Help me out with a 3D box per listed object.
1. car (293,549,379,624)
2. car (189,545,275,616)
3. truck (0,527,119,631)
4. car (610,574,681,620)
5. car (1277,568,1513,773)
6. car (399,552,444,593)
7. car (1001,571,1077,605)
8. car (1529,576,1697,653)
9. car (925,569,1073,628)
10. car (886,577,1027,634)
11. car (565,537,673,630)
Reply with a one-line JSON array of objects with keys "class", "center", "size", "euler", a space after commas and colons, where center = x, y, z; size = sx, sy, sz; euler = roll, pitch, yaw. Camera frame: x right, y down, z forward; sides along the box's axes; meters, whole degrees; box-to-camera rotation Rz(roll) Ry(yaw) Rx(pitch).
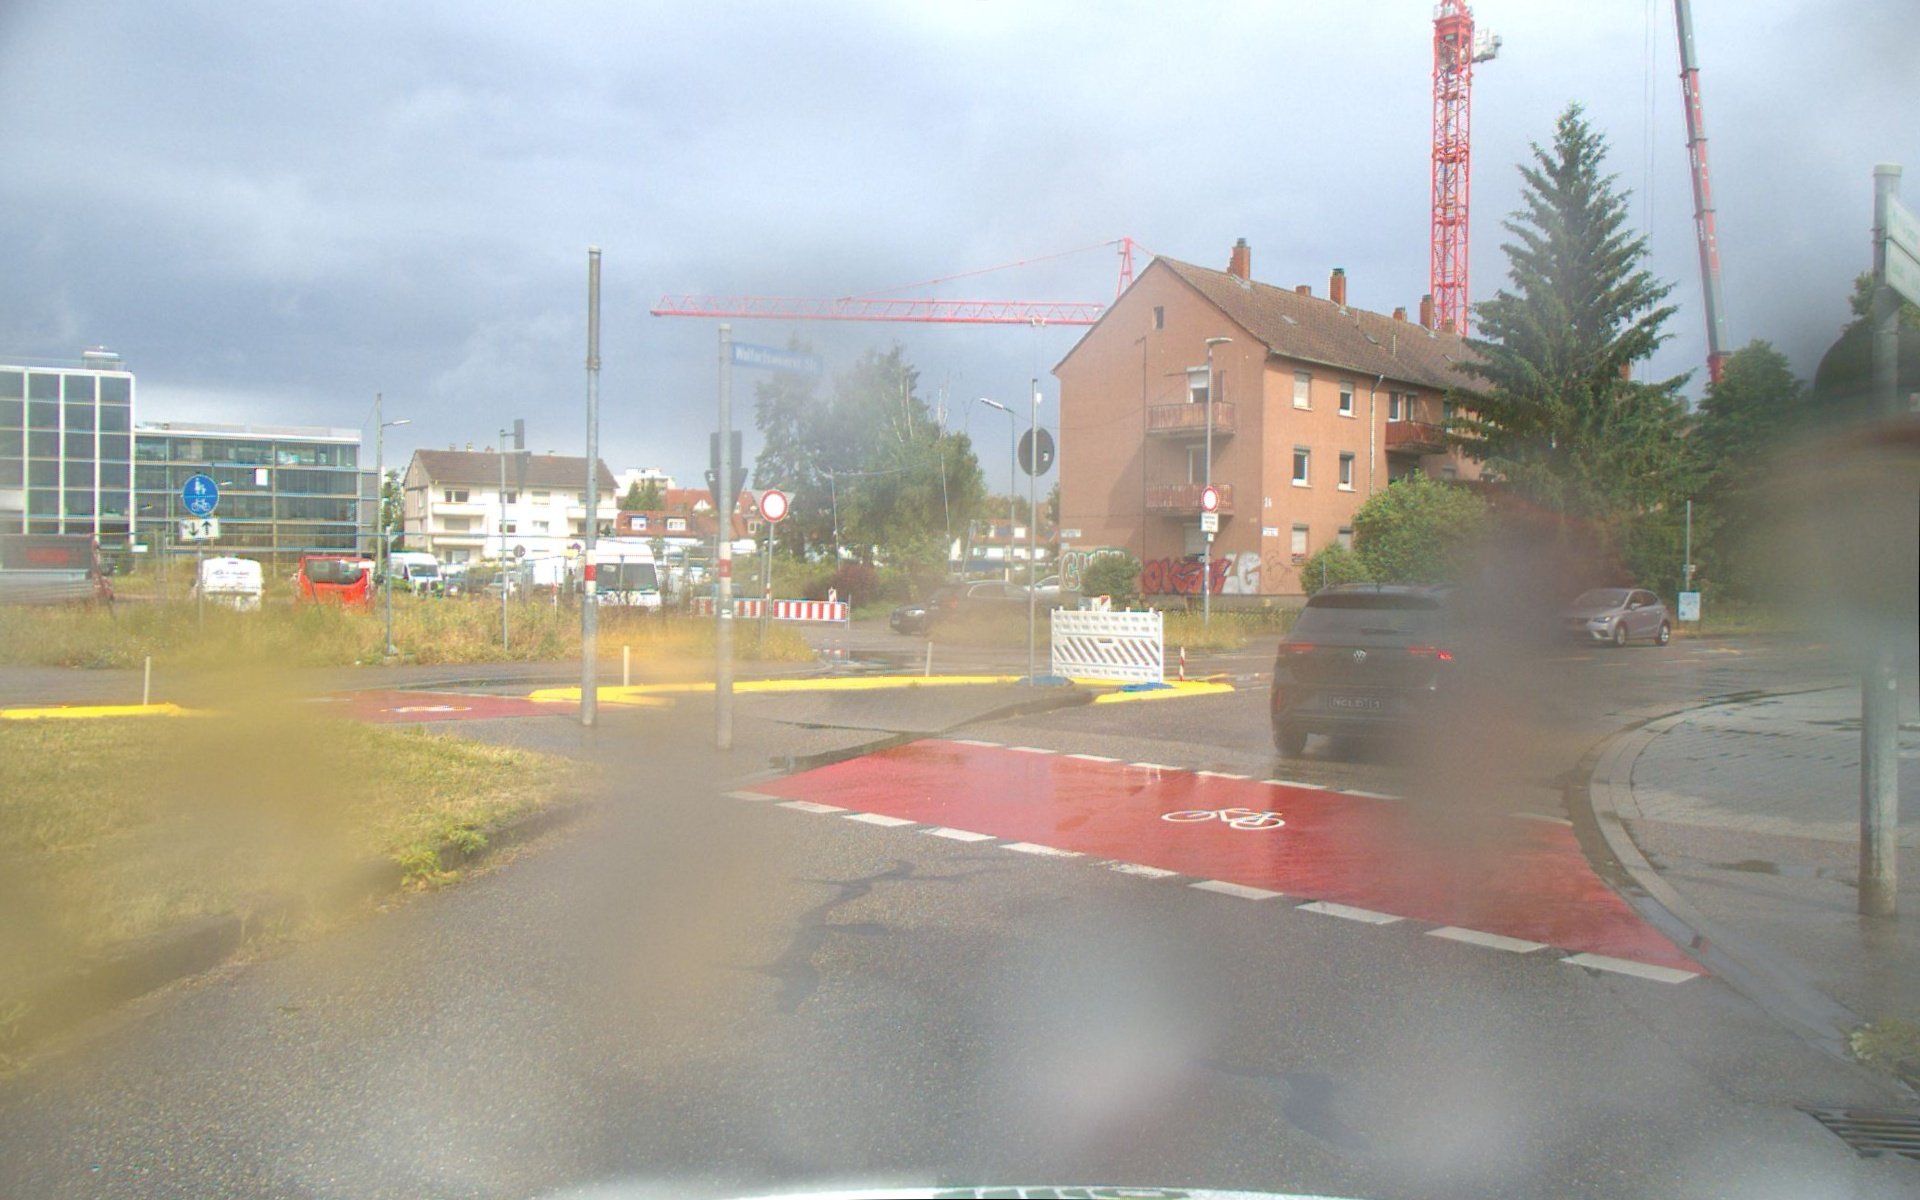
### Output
[{"class": "car", "center": [-16.334, -0.385, 43.176], "size": [1.898, 1.729, 3.972], "euler": [1, 3, -24]}, {"class": "car", "center": [-19.662, -0.553, 44.583], "size": [1.831, 1.729, 3.965], "euler": [0, 3, -28]}, {"class": "truck", "center": [-22.425, -0.590, 40.540], "size": [2.354, 2.249, 6.069], "euler": [1, 3, -19]}, {"class": "car", "center": [-15.432, -0.165, 81.135], "size": [1.977, 2.160, 3.950], "euler": [0, 1, -35]}, {"class": "car", "center": [4.247, 0.539, 15.717], "size": [1.858, 1.646, 4.002], "euler": [1, 1, 19]}, {"class": "car", "center": [-30.594, -1.580, 93.916], "size": [2.337, 2.121, 4.946], "euler": [1, 3, -19]}, {"class": "car", "center": [3.705, -0.589, 77.686], "size": [3.435, 1.545, 1.618], "euler": [1, 1, 7]}, {"class": "car", "center": [16.672, 0.312, 42.130], "size": [4.657, 1.762, 2.051], "euler": [-1, 3, -41]}, {"class": "car", "center": [1.104, -0.046, 47.511], "size": [3.979, 1.661, 1.610], "euler": [0, 1, -16]}, {"class": "car", "center": [-0.123, 0.156, 49.818], "size": [3.979, 1.661, 1.610], "euler": [0, 1, -16]}, {"class": "car", "center": [-8.979, -0.512, 43.143], "size": [2.005, 2.121, 6.235], "euler": [1, 3, -18]}]
